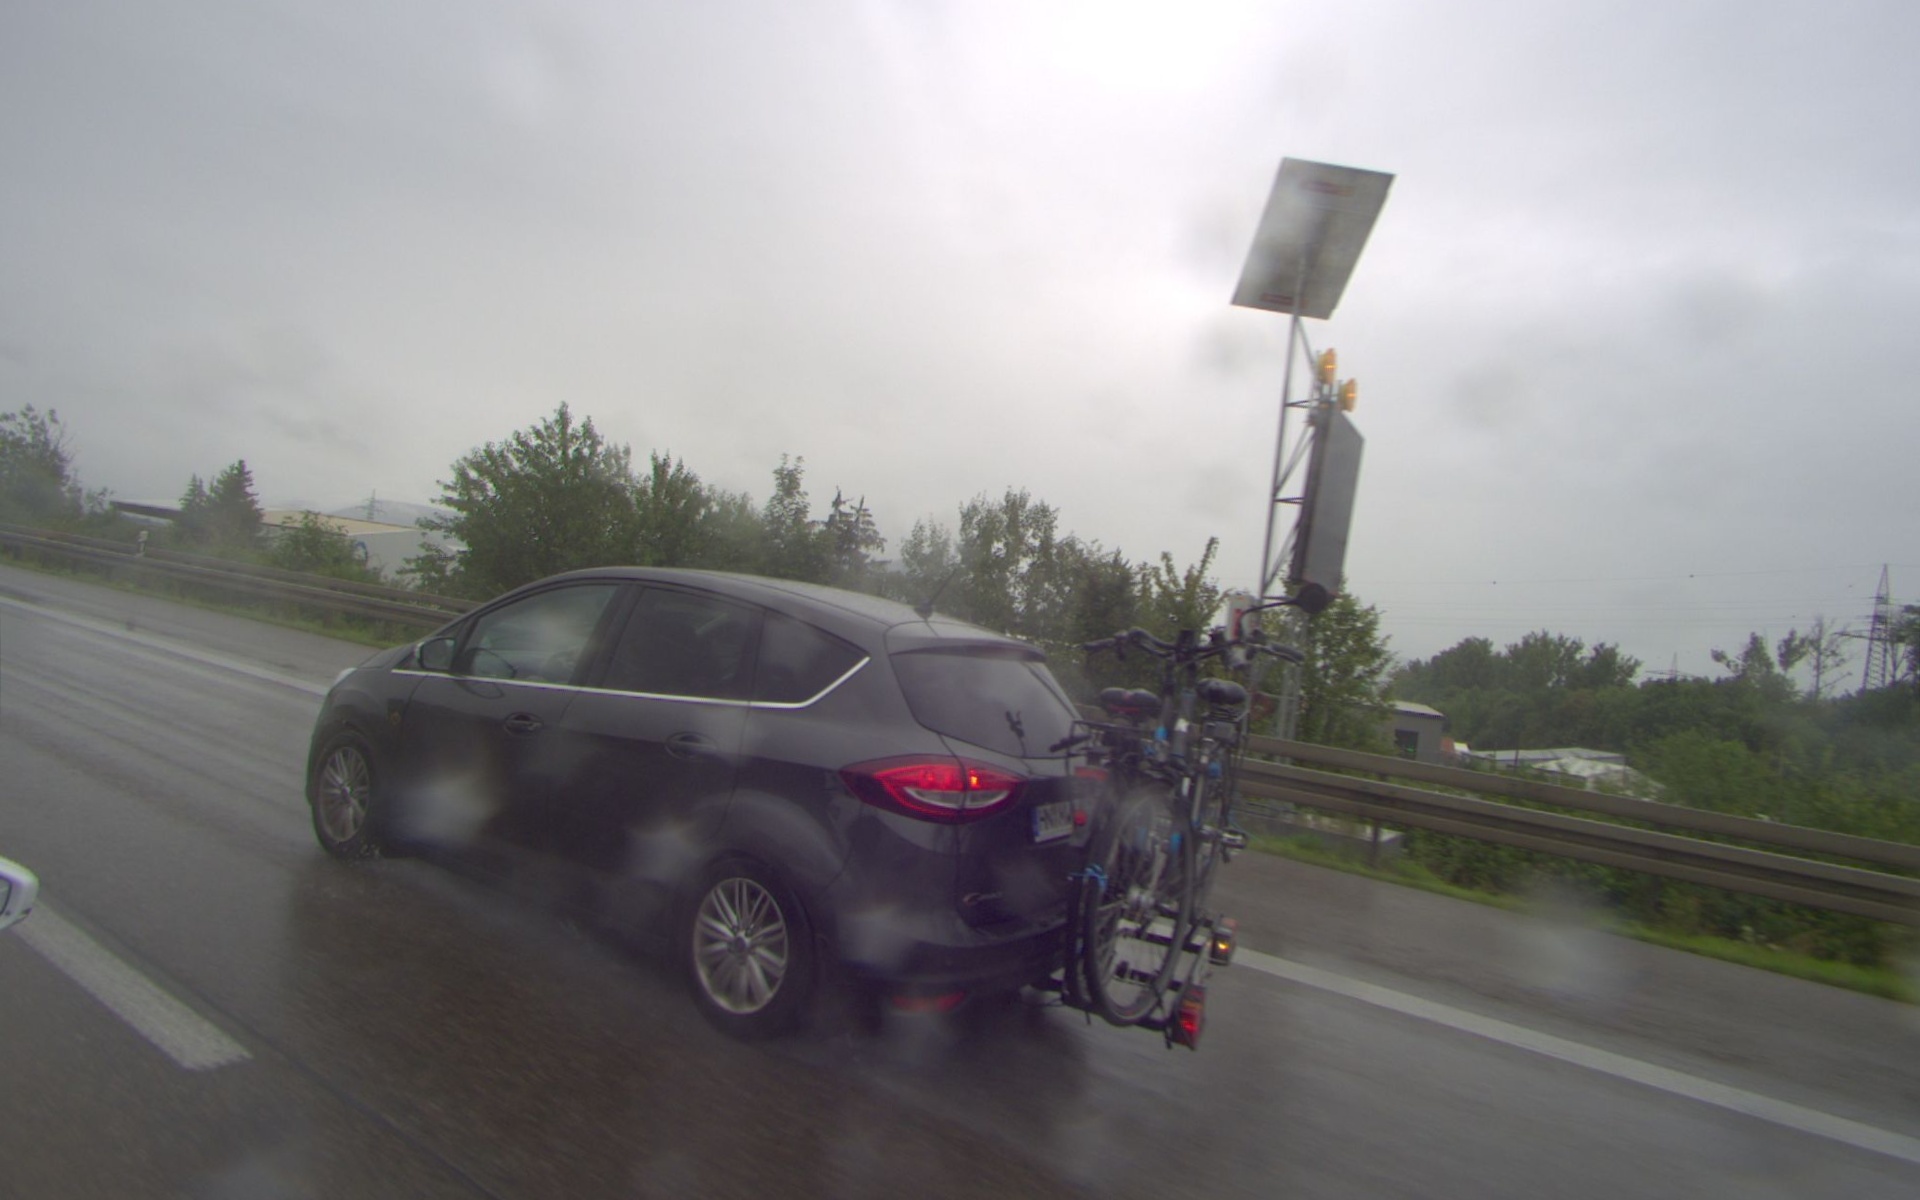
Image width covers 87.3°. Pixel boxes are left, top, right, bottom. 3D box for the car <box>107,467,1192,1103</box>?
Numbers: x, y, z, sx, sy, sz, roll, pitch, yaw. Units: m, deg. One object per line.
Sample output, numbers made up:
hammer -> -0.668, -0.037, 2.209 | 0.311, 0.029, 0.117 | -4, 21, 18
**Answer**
car -> -1.926, 0.479, 5.543 | 5.623, 1.766, 2.462 | 7, -2, 31
